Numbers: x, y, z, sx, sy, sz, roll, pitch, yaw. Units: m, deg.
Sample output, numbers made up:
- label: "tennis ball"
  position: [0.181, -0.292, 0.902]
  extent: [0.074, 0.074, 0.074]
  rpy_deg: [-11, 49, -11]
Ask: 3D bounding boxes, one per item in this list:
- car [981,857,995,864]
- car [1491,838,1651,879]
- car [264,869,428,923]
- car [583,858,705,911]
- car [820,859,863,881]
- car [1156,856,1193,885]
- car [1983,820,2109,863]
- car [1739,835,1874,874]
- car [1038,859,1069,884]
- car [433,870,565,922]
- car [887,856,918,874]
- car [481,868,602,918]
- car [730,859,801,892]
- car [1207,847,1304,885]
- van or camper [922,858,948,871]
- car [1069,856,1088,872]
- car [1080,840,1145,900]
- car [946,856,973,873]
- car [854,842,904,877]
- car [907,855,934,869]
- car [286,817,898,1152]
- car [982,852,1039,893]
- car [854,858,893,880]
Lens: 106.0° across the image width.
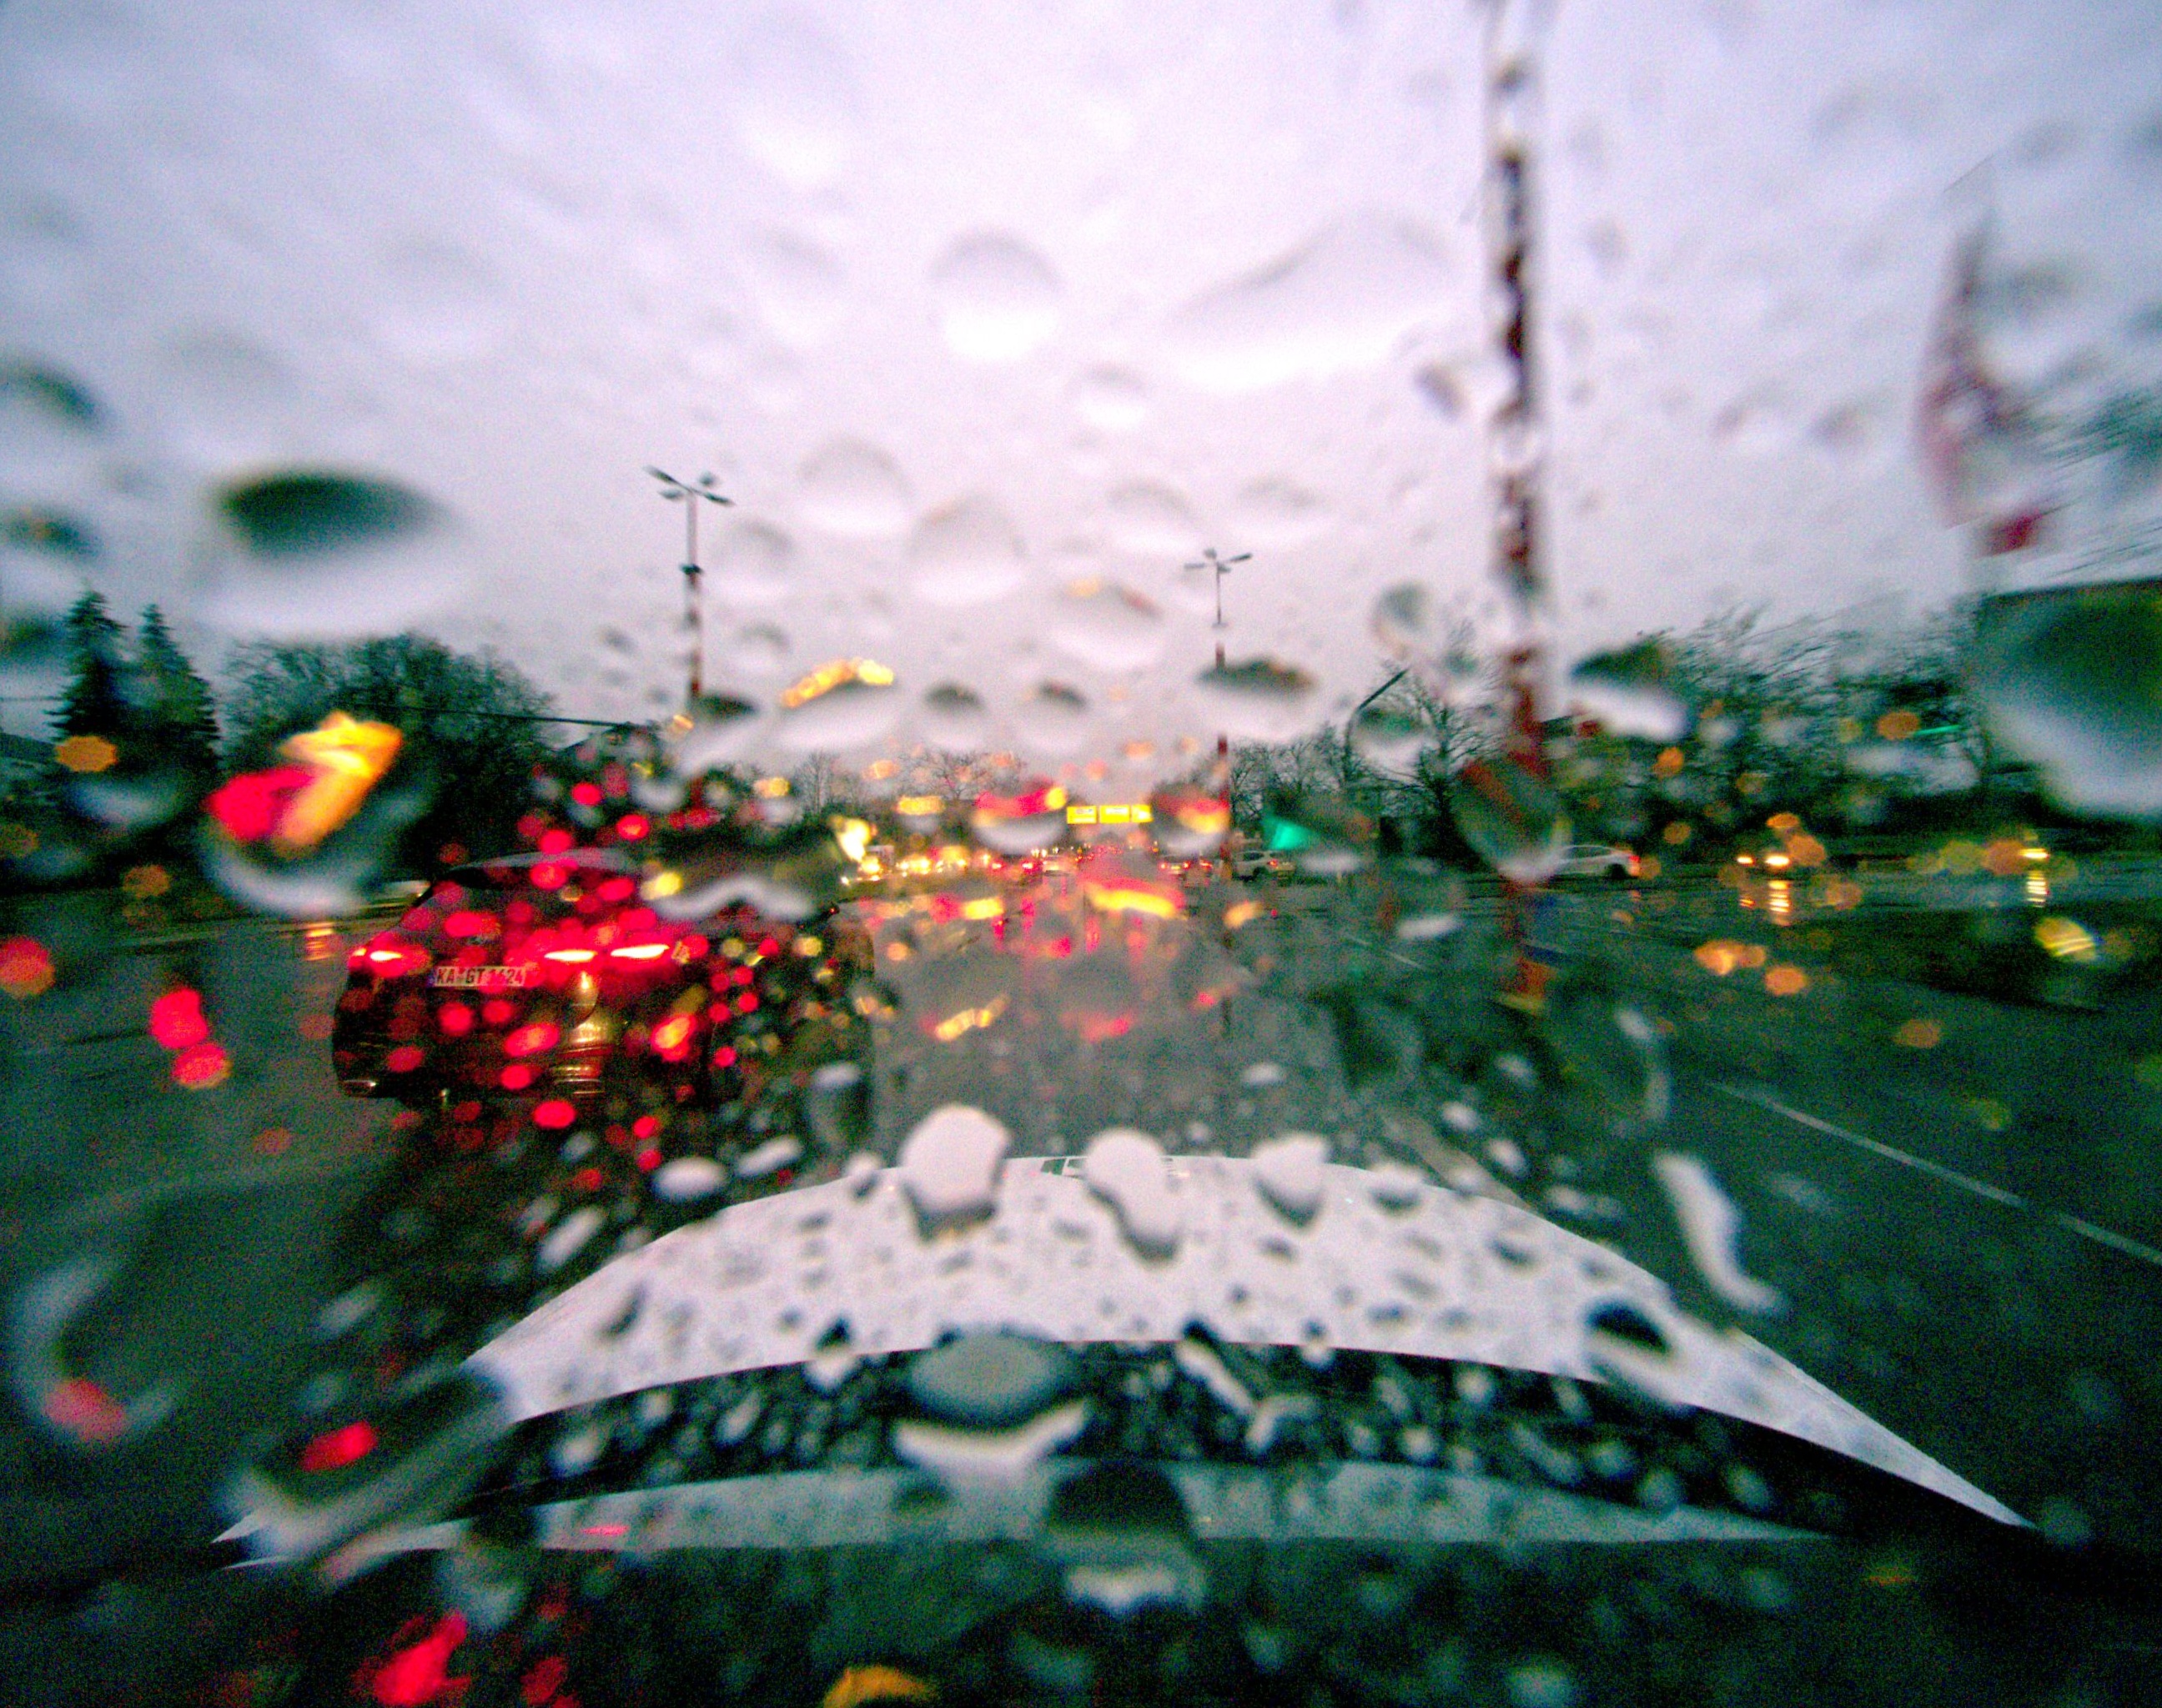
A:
- label: "car"
  position: [-18.959, 1.320, 166.211]
  extent: [1.985, 1.477, 4.077]
  rpy_deg: [0, 0, 4]
- label: "car"
  position: [18.093, 0.177, 30.278]
  extent: [4.710, 1.376, 1.888]
  rpy_deg: [-1, 0, 10]
- label: "car"
  position: [-24.002, 1.326, 26.830]
  extent: [1.612, 1.495, 4.019]
  rpy_deg: [-1, 0, 2]
- label: "car"
  position: [-14.790, 0.974, 27.833]
  extent: [1.850, 1.581, 4.080]
  rpy_deg: [-1, 0, 1]
- label: "car"
  position: [-18.826, 1.246, 64.278]
  extent: [1.762, 1.536, 4.450]
  rpy_deg: [-1, 0, 4]
- label: "car"
  position: [5.571, 0.960, 48.877]
  extent: [1.925, 1.648, 4.470]
  rpy_deg: [0, -1, 3]
- label: "car"
  position: [39.152, -0.490, 33.063]
  extent: [3.879, 1.635, 1.651]
  rpy_deg: [-1, 0, -12]
- label: "car"
  position: [26.824, 0.020, 30.153]
  extent: [3.988, 1.309, 1.631]
  rpy_deg: [-1, 0, -11]
- label: "car"
  position: [-1.923, 1.212, 58.387]
  extent: [1.814, 1.648, 4.003]
  rpy_deg: [-1, 0, 3]
- label: "car"
  position: [-20.516, 1.429, 28.929]
  extent: [1.763, 1.553, 3.948]
  rpy_deg: [-1, 0, 1]
- label: "car"
  position: [-17.818, 1.077, 81.402]
  extent: [1.787, 1.659, 4.008]
  rpy_deg: [0, 2, 6]
- label: "car"
  position: [-17.628, 1.236, 26.801]
  extent: [1.645, 1.420, 3.328]
  rpy_deg: [-1, 0, 2]
- label: "car"
  position: [-16.512, 1.084, 42.859]
  extent: [1.763, 1.533, 4.527]
  rpy_deg: [-1, 0, 2]
- label: "car"
  position: [8.021, 0.545, 37.875]
  extent: [1.828, 1.618, 4.364]
  rpy_deg: [-1, 0, -34]
- label: "van or camper"
  position: [-17.298, 1.258, 96.533]
  extent: [1.896, 1.446, 5.162]
  rpy_deg: [-1, 0, 3]
- label: "car"
  position: [-0.212, 0.900, 75.440]
  extent: [1.499, 1.339, 4.003]
  rpy_deg: [-1, 0, 3]
- label: "car"
  position: [1.018, 0.450, 25.395]
  extent: [1.814, 1.648, 4.470]
  rpy_deg: [-1, 0, 3]
- label: "car"
  position: [-11.785, 0.986, 79.305]
  extent: [1.763, 1.536, 4.843]
  rpy_deg: [-1, 0, 2]
- label: "car"
  position: [-18.542, 0.527, 75.092]
  extent: [2.281, 3.005, 7.354]
  rpy_deg: [0, -1, 4]
- label: "car"
  position: [-17.509, 0.887, 89.151]
  extent: [1.896, 1.446, 4.445]
  rpy_deg: [-1, 0, 3]
- label: "car"
  position: [-2.955, 0.660, 6.293]
  extent: [1.814, 1.648, 4.470]
  rpy_deg: [-1, 0, 3]
- label: "car"
  position: [-2.949, 0.744, 34.820]
  extent: [1.814, 1.648, 4.003]
  rpy_deg: [-1, 0, 3]
- label: "car"
  position: [-15.569, 1.098, 61.222]
  extent: [1.763, 1.586, 4.035]
  rpy_deg: [-1, 0, 2]
